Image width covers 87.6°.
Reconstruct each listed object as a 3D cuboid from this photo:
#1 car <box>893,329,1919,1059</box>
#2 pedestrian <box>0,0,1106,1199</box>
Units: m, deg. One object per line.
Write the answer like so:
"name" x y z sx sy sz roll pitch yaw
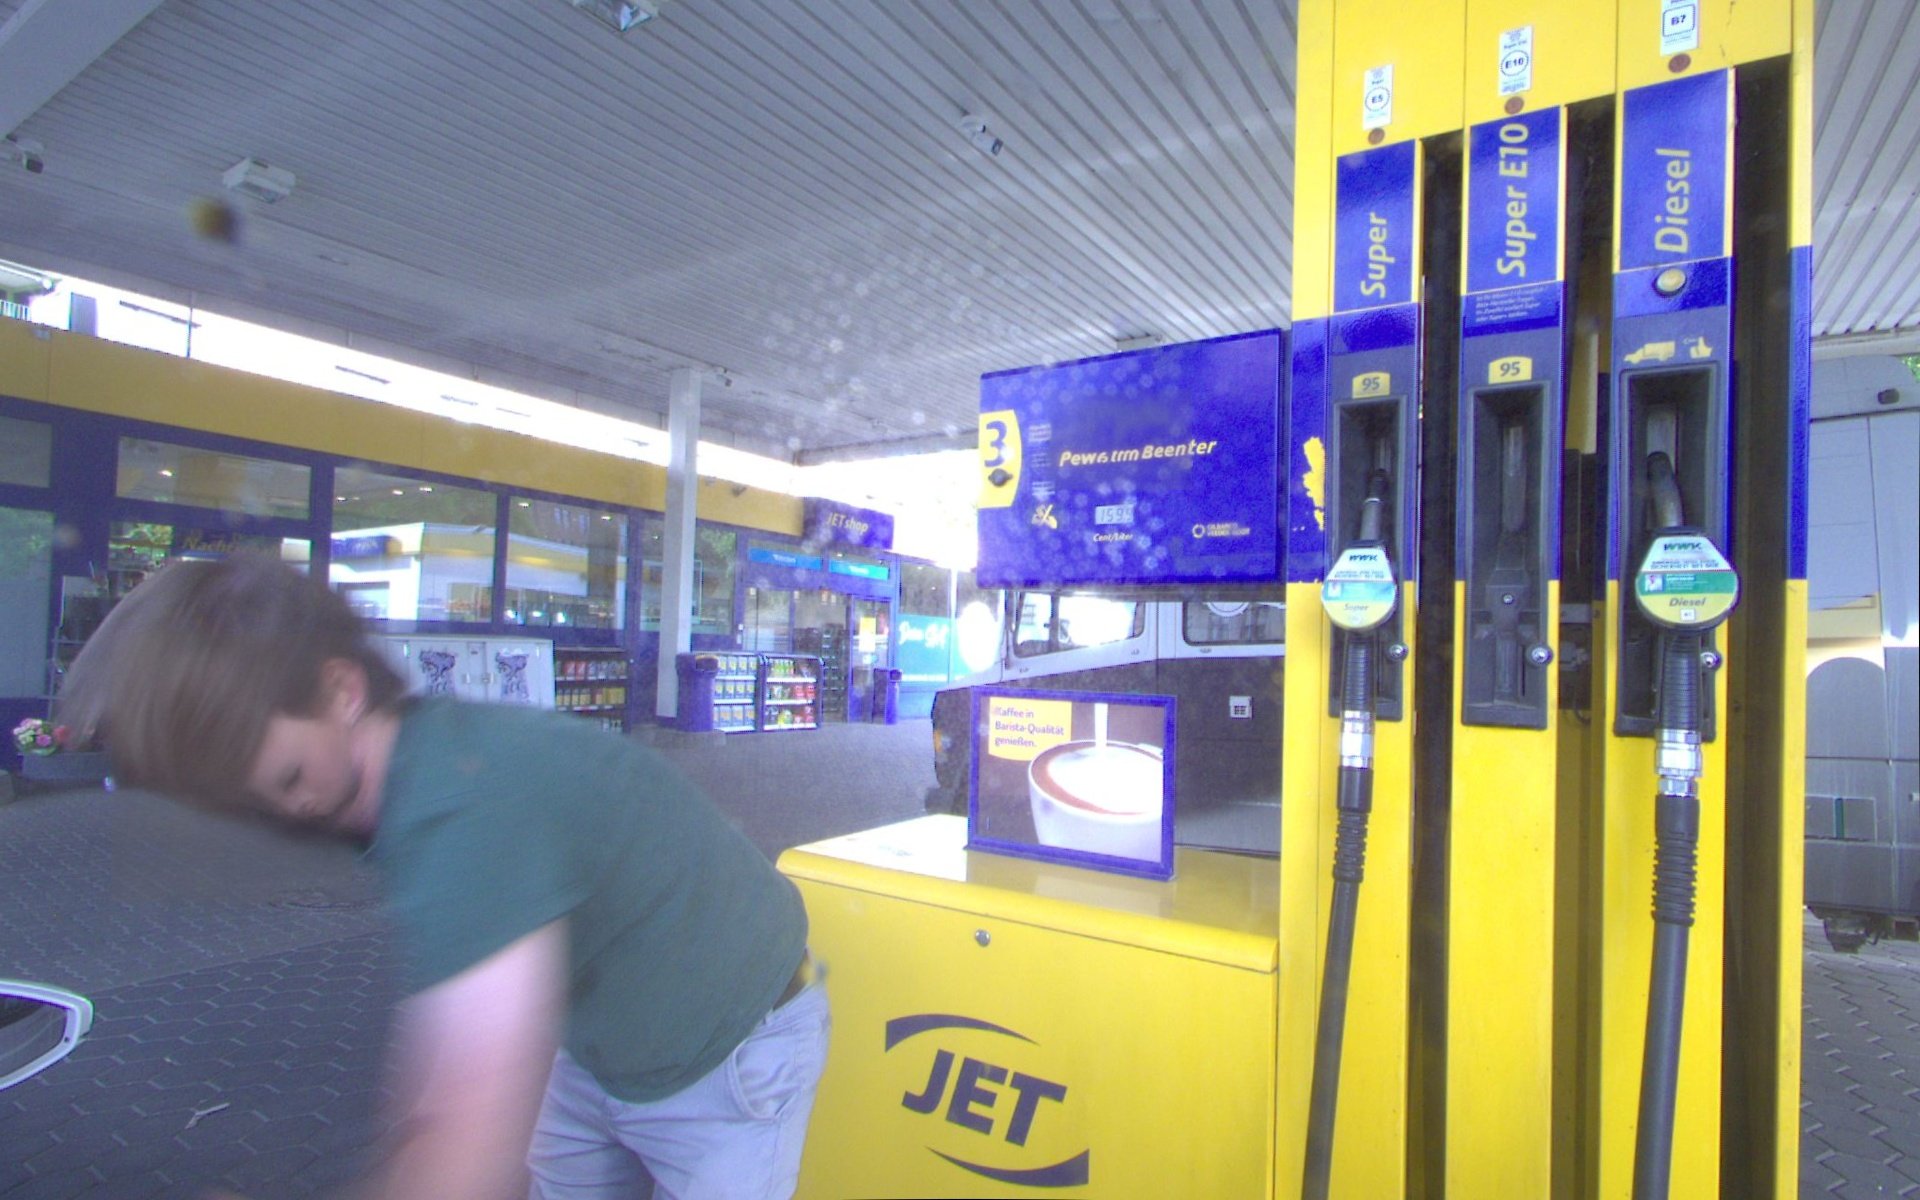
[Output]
"car" 2.359 0.432 5.995 5.271 2.759 2.193 -1 -3 34
"pedestrian" -0.432 0.583 1.094 0.976 1.750 1.181 -2 -2 18
